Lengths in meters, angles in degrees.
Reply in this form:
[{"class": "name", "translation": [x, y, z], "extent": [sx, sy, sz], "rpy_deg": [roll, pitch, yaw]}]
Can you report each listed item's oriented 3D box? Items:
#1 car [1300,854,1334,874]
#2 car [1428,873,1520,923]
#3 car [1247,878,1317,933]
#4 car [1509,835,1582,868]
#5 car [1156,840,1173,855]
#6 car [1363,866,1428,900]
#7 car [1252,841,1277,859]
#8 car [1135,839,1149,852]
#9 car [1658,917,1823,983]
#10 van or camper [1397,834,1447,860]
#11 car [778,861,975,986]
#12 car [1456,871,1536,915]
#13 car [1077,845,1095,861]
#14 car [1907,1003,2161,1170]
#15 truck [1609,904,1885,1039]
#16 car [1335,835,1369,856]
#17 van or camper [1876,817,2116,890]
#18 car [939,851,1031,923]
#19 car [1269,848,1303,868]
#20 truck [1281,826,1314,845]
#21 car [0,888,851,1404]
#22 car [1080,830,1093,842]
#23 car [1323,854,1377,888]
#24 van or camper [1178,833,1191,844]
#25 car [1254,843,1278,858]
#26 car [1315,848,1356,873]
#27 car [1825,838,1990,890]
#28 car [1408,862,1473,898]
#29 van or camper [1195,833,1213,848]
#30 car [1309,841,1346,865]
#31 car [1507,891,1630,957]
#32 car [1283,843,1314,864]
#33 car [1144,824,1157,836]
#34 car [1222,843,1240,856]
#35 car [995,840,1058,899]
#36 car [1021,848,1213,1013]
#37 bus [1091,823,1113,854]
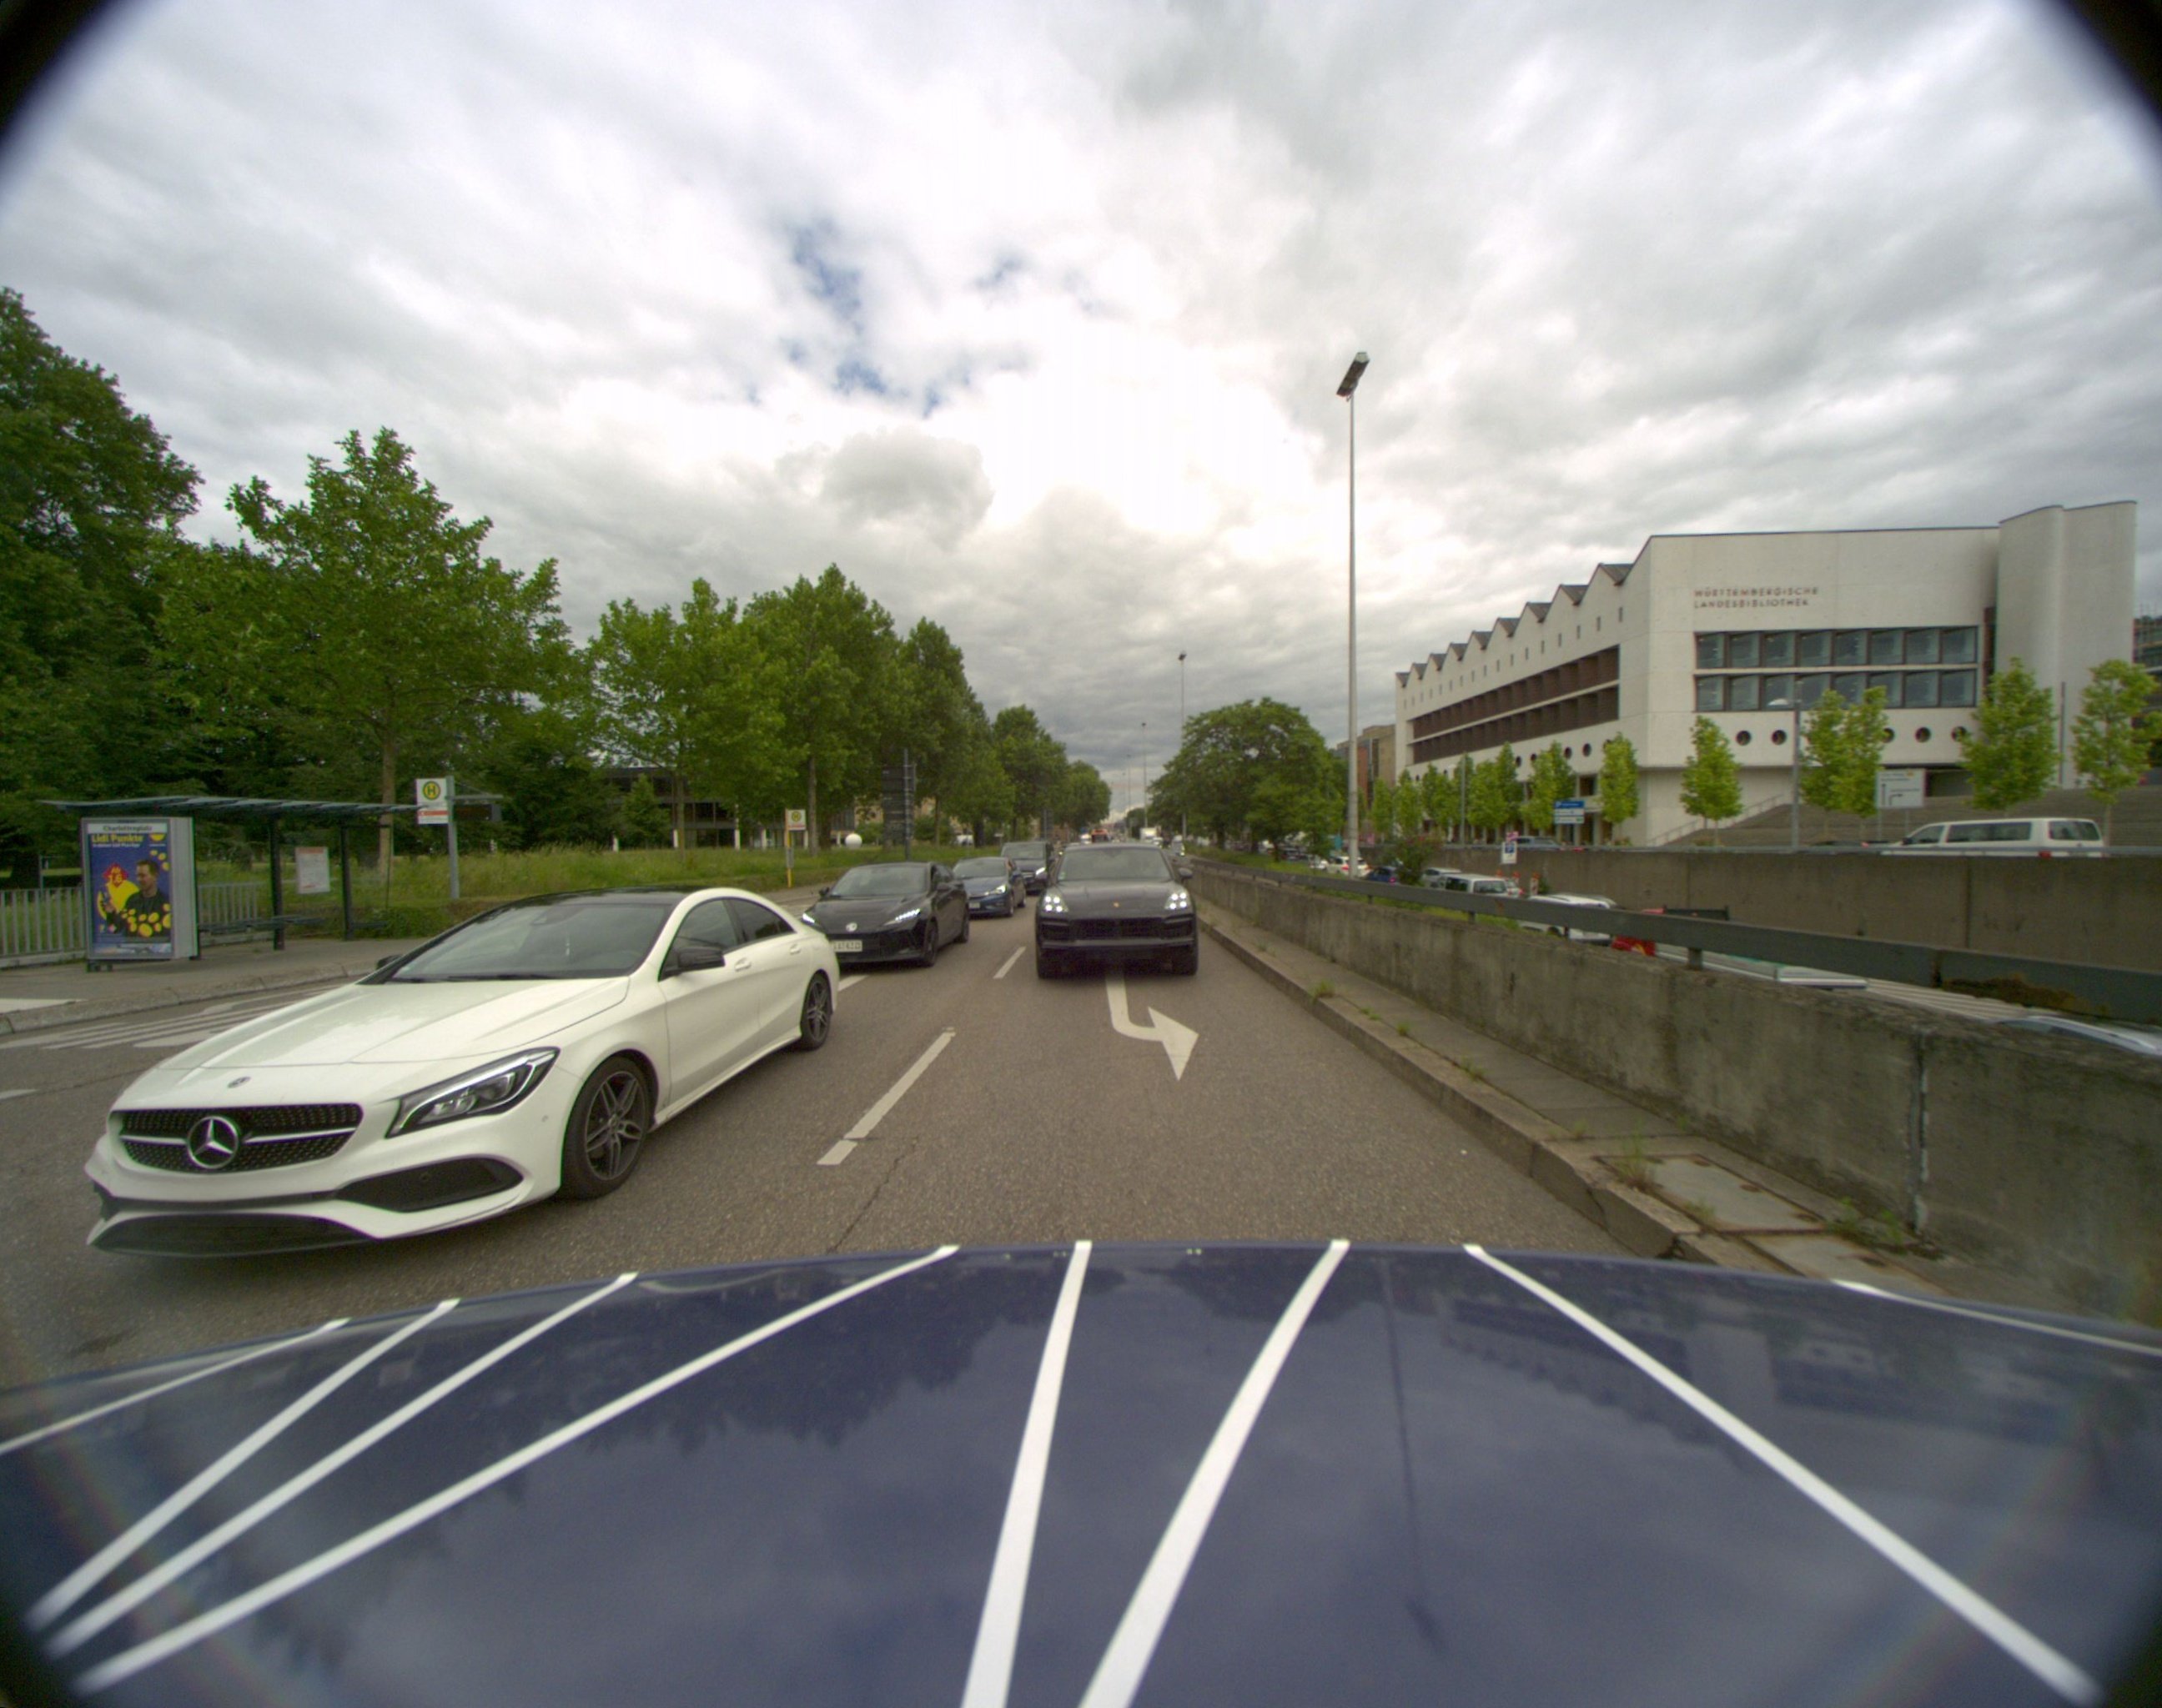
[{"class": "car", "translation": [18.307, 0.774, 59.125], "extent": [1.674, 1.477, 3.361], "rpy_deg": [0, 1, 1]}, {"class": "car", "translation": [17.960, 1.946, 34.991], "extent": [1.998, 2.002, 4.333], "rpy_deg": [2, 0, 1]}, {"class": "car", "translation": [8.756, 2.188, 33.434], "extent": [1.998, 2.002, 4.000], "rpy_deg": [-2, 1, 1]}, {"class": "car", "translation": [28.016, -0.138, 45.968], "extent": [1.998, 1.805, 4.000], "rpy_deg": [-2, 0, 1]}, {"class": "car", "translation": [11.602, -0.955, 106.132], "extent": [1.998, 2.002, 3.999], "rpy_deg": [0, 2, 2]}, {"class": "car", "translation": [18.193, 1.623, 44.169], "extent": [1.998, 1.733, 4.281], "rpy_deg": [2, 0, 1]}, {"class": "car", "translation": [21.569, -0.438, 89.376], "extent": [1.998, 2.002, 4.000], "rpy_deg": [2, 0, 1]}, {"class": "car", "translation": [9.659, -1.303, 121.247], "extent": [1.998, 2.002, 4.000], "rpy_deg": [-1, 0, 1]}, {"class": "car", "translation": [21.663, 3.102, 25.200], "extent": [1.998, 1.543, 4.000], "rpy_deg": [-2, 1, 1]}, {"class": "van or camper", "translation": [27.766, -0.512, 62.002], "extent": [1.999, 2.002, 4.557], "rpy_deg": [-2, 0, -1]}, {"class": "car", "translation": [-2.921, 0.917, 11.866], "extent": [1.829, 1.515, 4.120], "rpy_deg": [-2, 0, 1]}, {"class": "car", "translation": [21.542, 1.971, 39.631], "extent": [1.998, 2.002, 4.000], "rpy_deg": [2, 0, 1]}, {"class": "car", "translation": [0.497, -0.084, 72.803], "extent": [1.565, 1.409, 3.620], "rpy_deg": [-2, 0, 2]}, {"class": "car", "translation": [17.407, 3.904, 13.227], "extent": [1.794, 1.805, 3.927], "rpy_deg": [-2, 0, 1]}, {"class": "truck", "translation": [17.532, 2.919, 20.622], "extent": [2.324, 2.675, 5.979], "rpy_deg": [-2, 0, 2]}, {"class": "car", "translation": [27.737, -0.847, 77.892], "extent": [1.999, 2.002, 3.999], "rpy_deg": [-2, 1, 0]}, {"class": "van or camper", "translation": [28.154, 0.004, 23.682], "extent": [1.998, 2.002, 4.557], "rpy_deg": [-2, 0, 1]}, {"class": "car", "translation": [-2.297, 0.734, 19.095], "extent": [1.573, 1.528, 4.001], "rpy_deg": [-2, 1, 2]}, {"class": "car", "translation": [18.120, 0.336, 67.390], "extent": [1.998, 1.650, 4.000], "rpy_deg": [-2, 0, 1]}, {"class": "truck", "translation": [26.469, -2.238, 92.989], "extent": [2.002, 2.145, 5.617], "rpy_deg": [-2, 0, -5]}, {"class": "car", "translation": [-3.060, 1.079, 4.754], "extent": [1.723, 1.415, 4.506], "rpy_deg": [-2, 1, 2]}, {"class": "car", "translation": [1.000, -3.260, 138.413], "extent": [1.999, 2.002, 3.998], "rpy_deg": [-2, 1, -3]}, {"class": "car", "translation": [18.388, 1.121, 52.167], "extent": [1.998, 2.119, 4.852], "rpy_deg": [2, 0, 1]}, {"class": "van or camper", "translation": [19.516, -2.878, 143.276], "extent": [2.036, 2.002, 4.000], "rpy_deg": [-2, 0, 1]}, {"class": "car", "translation": [19.122, -0.389, 78.539], "extent": [1.674, 1.477, 3.362], "rpy_deg": [-2, 0, 1]}, {"class": "car", "translation": [21.800, 0.575, 65.166], "extent": [1.998, 2.002, 4.655], "rpy_deg": [-2, 0, 1]}, {"class": "car", "translation": [31.568, 0.375, 29.221], "extent": [1.998, 1.805, 4.000], "rpy_deg": [-2, 0, 1]}, {"class": "car", "translation": [21.534, 1.524, 45.713], "extent": [1.998, 2.002, 4.000], "rpy_deg": [2, 0, 1]}, {"class": "van or camper", "translation": [17.991, -1.975, 111.359], "extent": [2.036, 2.002, 4.000], "rpy_deg": [-2, 0, 1]}, {"class": "car", "translation": [22.088, -0.070, 68.224], "extent": [1.998, 2.002, 4.000], "rpy_deg": [2, 0, 1]}, {"class": "car", "translation": [17.958, 2.518, 28.254], "extent": [1.998, 2.002, 4.000], "rpy_deg": [2, 0, 1]}, {"class": "car", "translation": [22.023, -0.016, 77.102], "extent": [1.998, 2.002, 4.000], "rpy_deg": [2, 0, 1]}, {"class": "car", "translation": [12.694, -4.365, 139.511], "extent": [1.997, 2.002, 4.002], "rpy_deg": [-2, 1, 10]}, {"class": "car", "translation": [18.585, -0.568, 94.269], "extent": [1.674, 1.477, 3.362], "rpy_deg": [-2, 0, 1]}, {"class": "car", "translation": [-1.818, 0.472, 26.778], "extent": [1.723, 1.851, 4.430], "rpy_deg": [-2, 1, 2]}, {"class": "car", "translation": [0.430, 0.796, 10.251], "extent": [1.937, 1.668, 4.680], "rpy_deg": [-2, 0, 1]}, {"class": "bus", "translation": [3.140, -2.329, 114.917], "extent": [3.043, 4.327, 8.748], "rpy_deg": [-2, 1, 0]}]
